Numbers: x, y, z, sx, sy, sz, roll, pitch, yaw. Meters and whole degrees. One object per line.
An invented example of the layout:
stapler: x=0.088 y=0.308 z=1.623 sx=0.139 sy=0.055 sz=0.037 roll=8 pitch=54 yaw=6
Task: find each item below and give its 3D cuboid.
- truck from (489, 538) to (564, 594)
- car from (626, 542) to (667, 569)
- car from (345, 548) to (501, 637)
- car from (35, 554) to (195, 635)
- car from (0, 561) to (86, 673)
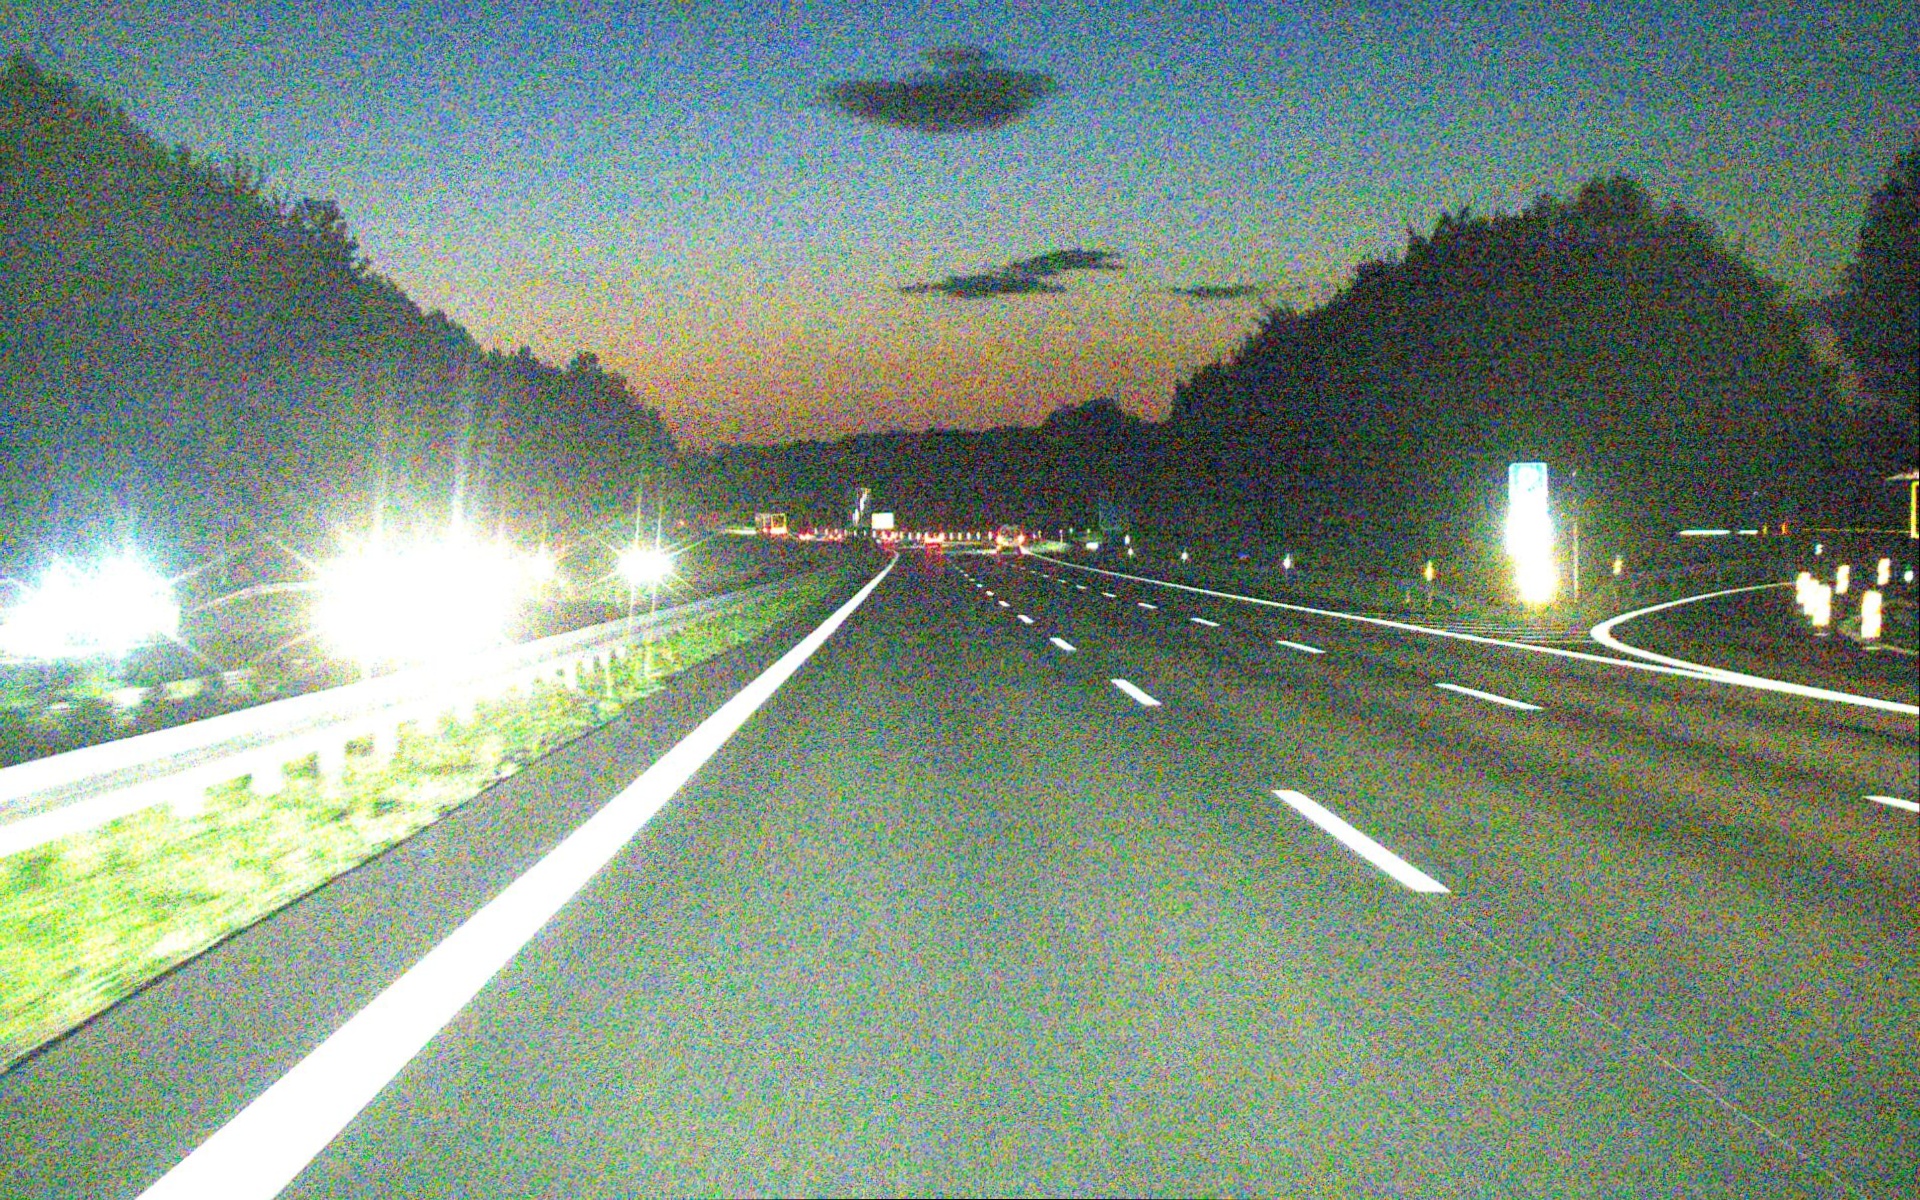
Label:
truck: x=-15.583 y=-1.207 z=123.794 sx=1.993 sy=1.935 sz=5.240 roll=-1 pitch=0 yaw=0
car: x=-18.848 y=-2.694 z=206.899 sx=1.993 sy=1.498 sz=5.201 roll=-2 pitch=1 yaw=0
car: x=-9.573 y=-0.169 z=61.608 sx=1.993 sy=1.456 sz=4.900 roll=-2 pitch=1 yaw=0
car: x=-16.702 y=-0.131 z=68.181 sx=1.993 sy=1.480 sz=4.801 roll=-1 pitch=1 yaw=-1
car: x=-13.176 y=0.213 z=45.233 sx=1.993 sy=1.389 sz=5.706 roll=-1 pitch=1 yaw=-1
